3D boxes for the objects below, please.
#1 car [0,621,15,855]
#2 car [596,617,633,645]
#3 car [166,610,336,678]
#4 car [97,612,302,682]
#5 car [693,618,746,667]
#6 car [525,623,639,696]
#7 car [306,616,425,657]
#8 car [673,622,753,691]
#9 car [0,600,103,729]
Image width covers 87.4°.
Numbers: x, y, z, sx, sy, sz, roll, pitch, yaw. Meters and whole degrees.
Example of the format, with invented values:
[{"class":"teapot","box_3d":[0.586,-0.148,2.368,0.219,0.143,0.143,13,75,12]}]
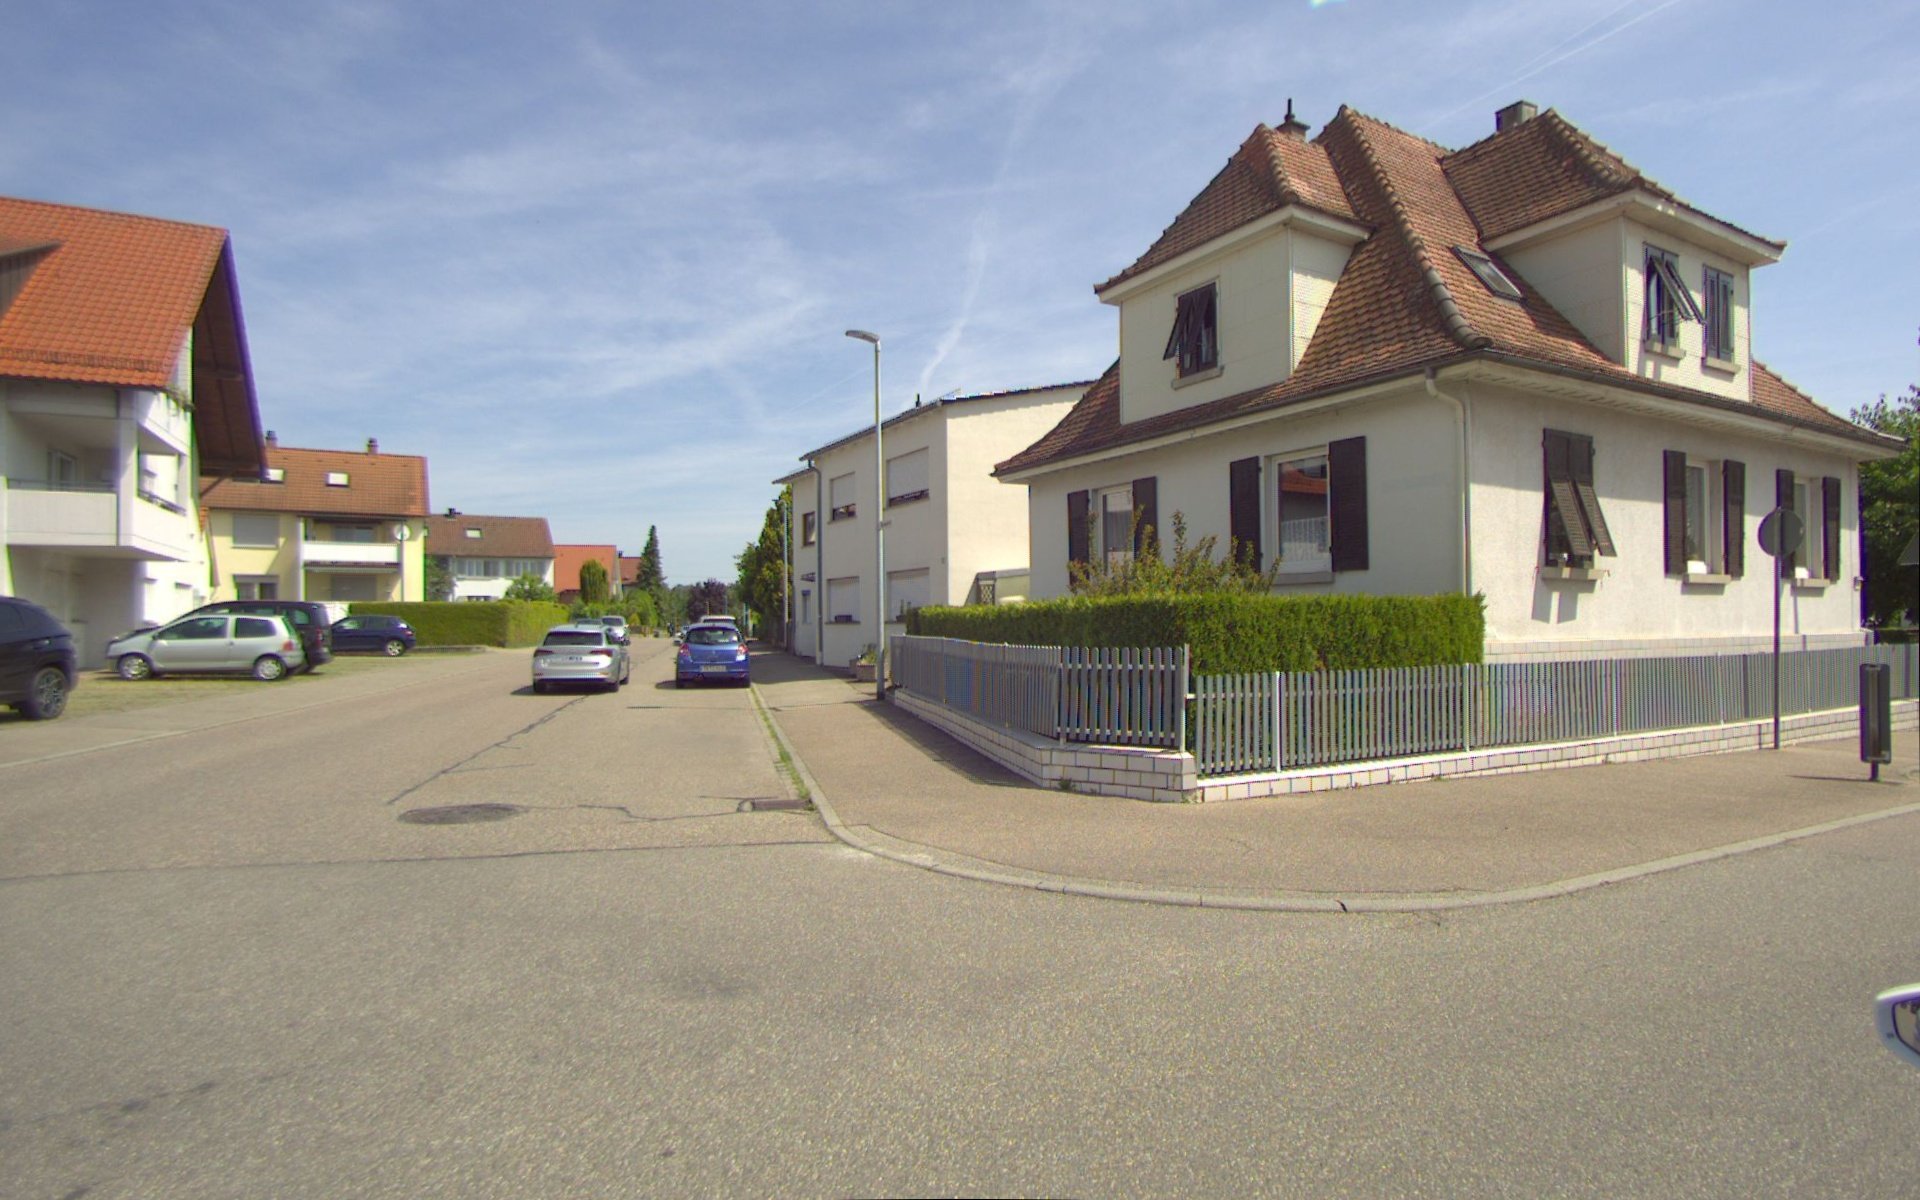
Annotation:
[{"class":"car","box_3d":[-6.261,0.791,3.793,1.896,1.416,4.483,1,-1,-13]},{"class":"car","box_3d":[-19.898,1.757,57.888,1.752,1.524,3.987,1,-1,-15]},{"class":"car","box_3d":[-16.885,1.057,24.073,3.085,1.545,1.223,2,-1,-25]},{"class":"car","box_3d":[-16.329,0.994,21.755,3.335,1.417,1.320,1,-2,-28]},{"class":"car","box_3d":[-8.647,1.471,35.977,1.746,1.672,3.764,1,-1,-15]},{"class":"car","box_3d":[-8.442,1.270,22.805,1.728,1.457,4.578,1,-1,-12]},{"class":"car","box_3d":[-21.486,1.311,36.413,3.619,1.408,1.453,1,0,-30]},{"class":"car","box_3d":[-6.040,1.309,24.475,1.746,1.511,3.764,1,-1,-15]},{"class":"car","box_3d":[-12.755,0.760,12.064,1.759,1.567,4.270,4,-2,-11]}]
